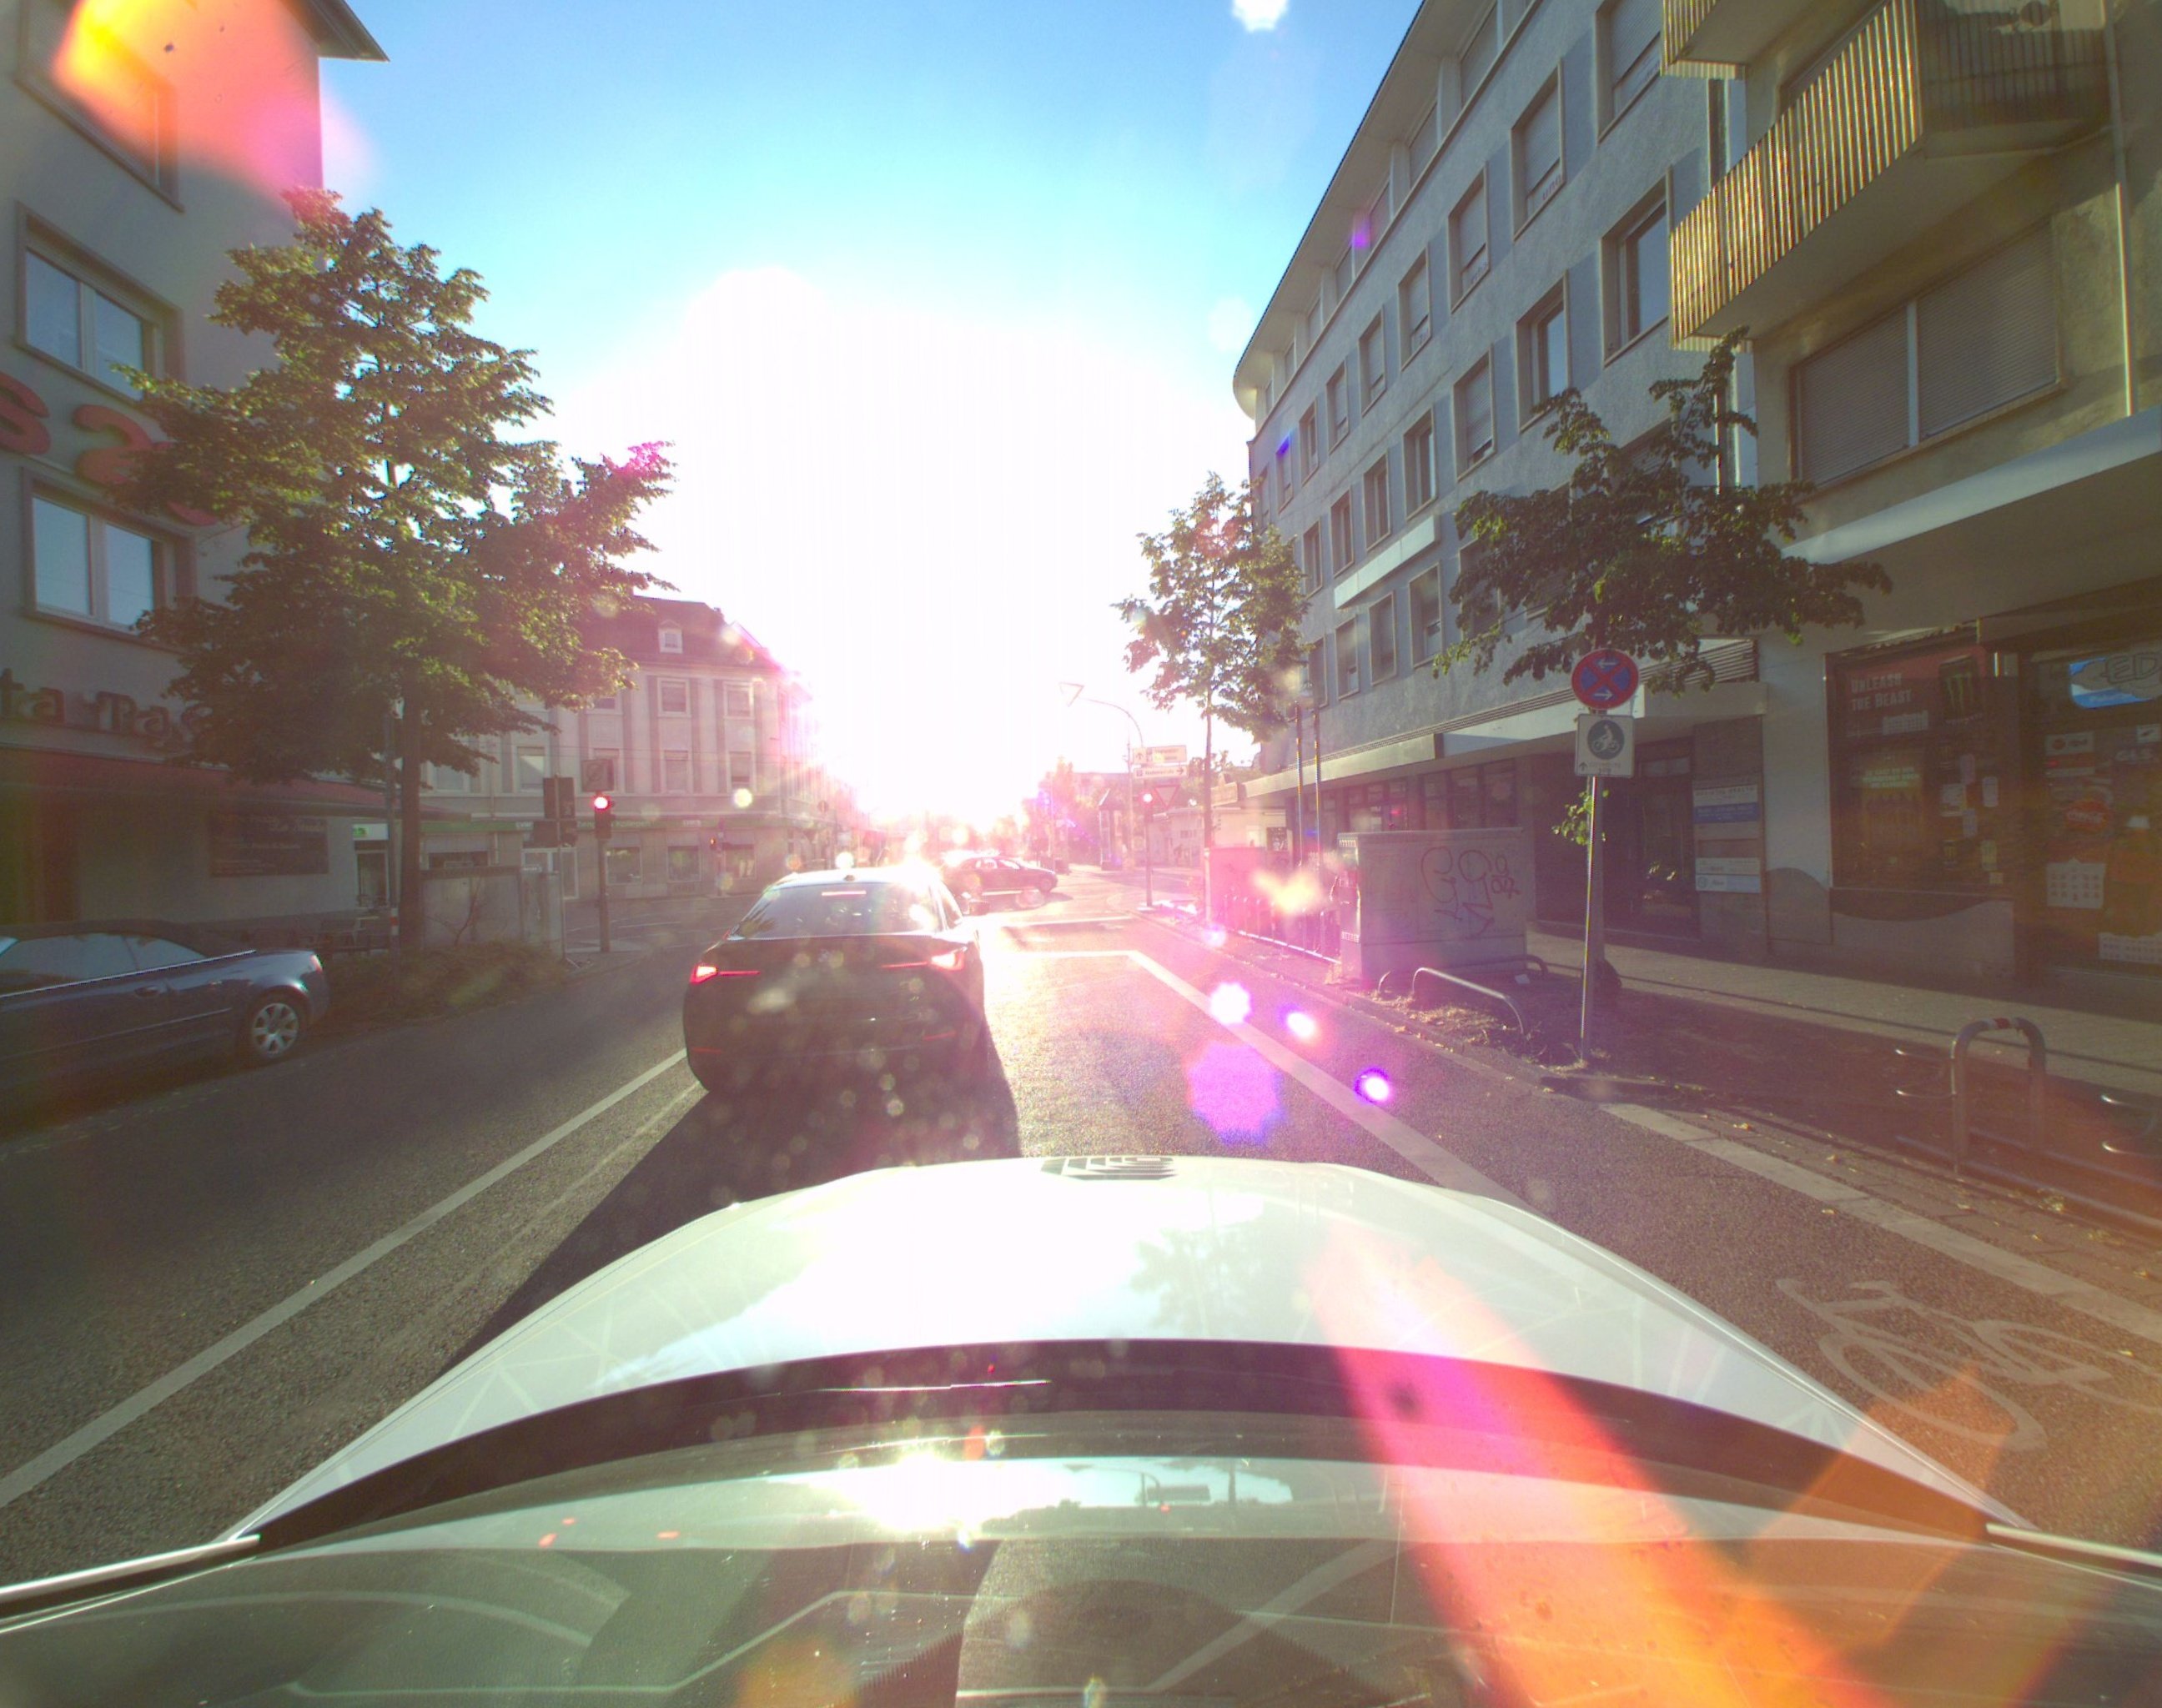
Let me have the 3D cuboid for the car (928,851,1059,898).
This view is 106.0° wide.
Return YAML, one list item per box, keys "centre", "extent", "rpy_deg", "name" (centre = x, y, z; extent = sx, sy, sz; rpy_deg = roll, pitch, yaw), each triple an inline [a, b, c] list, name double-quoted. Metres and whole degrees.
- centre: [-3.202, 0.704, 30.031]
  extent: [4.436, 1.473, 1.799]
  rpy_deg: [-2, 1, -32]
  name: "car"

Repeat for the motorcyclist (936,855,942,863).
- centre: [-16.516, 0.564, 94.741]
  extent: [0.574, 0.915, 2.196]
  rpy_deg: [0, 0, -6]
  name: "motorcyclist"

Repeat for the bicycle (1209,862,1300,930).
- centre: [3.230, 0.776, 15.197]
  extent: [1.610, 1.171, 0.318]
  rpy_deg: [-2, 0, -5]
  name: "bicycle"

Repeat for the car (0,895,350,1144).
- centre: [-7.632, 1.149, 5.538]
  extent: [1.721, 1.415, 4.270]
  rpy_deg: [-4, 0, -7]
  name: "car"

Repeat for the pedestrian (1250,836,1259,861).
- centre: [11.999, -0.356, 56.341]
  extent: [0.445, 1.734, 0.429]
  rpy_deg: [0, 0, -31]
  name: "pedestrian"

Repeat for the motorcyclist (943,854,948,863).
- centre: [-15.660, 0.557, 94.214]
  extent: [0.574, 0.995, 0.701]
  rpy_deg: [0, 0, -6]
  name: "motorcyclist"

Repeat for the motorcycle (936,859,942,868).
- centre: [-16.509, 1.095, 94.719]
  extent: [0.574, 0.915, 2.196]
  rpy_deg: [0, 0, -6]
  name: "motorcycle"

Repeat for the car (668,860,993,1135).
- centre: [-1.637, 0.795, 6.643]
  extent: [1.735, 1.428, 4.213]
  rpy_deg: [-1, 0, -7]
  name: "car"

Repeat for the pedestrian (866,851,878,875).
- centre: [-16.492, 0.729, 64.266]
  extent: [0.670, 1.876, 0.621]
  rpy_deg: [-1, 0, 34]
  name: "pedestrian"

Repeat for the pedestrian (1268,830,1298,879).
- centre: [7.760, 0.027, 31.270]
  extent: [0.682, 1.841, 0.828]
  rpy_deg: [-3, 0, -42]
  name: "pedestrian"

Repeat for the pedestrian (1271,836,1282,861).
- centre: [13.328, -0.366, 55.625]
  extent: [0.481, 1.734, 0.526]
  rpy_deg: [0, 0, -31]
  name: "pedestrian"

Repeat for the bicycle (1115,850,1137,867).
- centre: [3.094, 0.329, 56.106]
  extent: [0.552, 1.159, 2.127]
  rpy_deg: [-1, -1, -25]
  name: "bicycle"

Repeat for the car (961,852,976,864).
- centre: [-15.719, 0.583, 113.675]
  extent: [1.816, 1.519, 3.992]
  rpy_deg: [-2, 0, -6]
  name: "car"

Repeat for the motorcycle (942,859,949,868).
- centre: [-15.684, 1.089, 94.310]
  extent: [0.574, 0.915, 2.196]
  rpy_deg: [0, 0, -6]
  name: "motorcycle"

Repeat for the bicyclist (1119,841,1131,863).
- centre: [3.056, -0.133, 56.185]
  extent: [0.552, 1.481, 0.717]
  rpy_deg: [-1, -1, -25]
  name: "bicyclist"

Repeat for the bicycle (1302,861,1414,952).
- centre: [3.850, 0.710, 11.333]
  extent: [1.438, 1.220, 0.383]
  rpy_deg: [0, 0, -5]
  name: "bicycle"

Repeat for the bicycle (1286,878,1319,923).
- centre: [4.179, 0.864, 15.404]
  extent: [0.249, 0.796, 1.114]
  rpy_deg: [0, 0, -4]
  name: "bicycle"

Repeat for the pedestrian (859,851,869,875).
- centre: [-17.017, 0.734, 63.795]
  extent: [0.642, 1.876, 0.630]
  rpy_deg: [0, 0, -7]
  name: "pedestrian"

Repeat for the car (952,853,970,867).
- centre: [-14.026, 0.644, 95.422]
  extent: [1.816, 1.519, 3.992]
  rpy_deg: [-2, 0, -6]
  name: "car"

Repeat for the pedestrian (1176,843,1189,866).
- centre: [6.724, 0.009, 54.011]
  extent: [0.725, 1.529, 0.475]
  rpy_deg: [-1, 0, 33]
  name: "pedestrian"

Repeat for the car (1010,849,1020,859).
- centre: [-13.466, -0.028, 166.347]
  extent: [1.768, 1.848, 3.994]
  rpy_deg: [-2, 0, -4]
  name: "car"

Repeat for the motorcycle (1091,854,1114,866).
- centre: [1.789, 0.485, 68.003]
  extent: [1.673, 0.939, 0.851]
  rpy_deg: [-2, 0, -18]
  name: "motorcycle"

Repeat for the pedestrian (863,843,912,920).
- centre: [-4.911, 0.684, 20.628]
  extent: [1.006, 1.860, 0.634]
  rpy_deg: [-3, 1, -27]
  name: "pedestrian"
